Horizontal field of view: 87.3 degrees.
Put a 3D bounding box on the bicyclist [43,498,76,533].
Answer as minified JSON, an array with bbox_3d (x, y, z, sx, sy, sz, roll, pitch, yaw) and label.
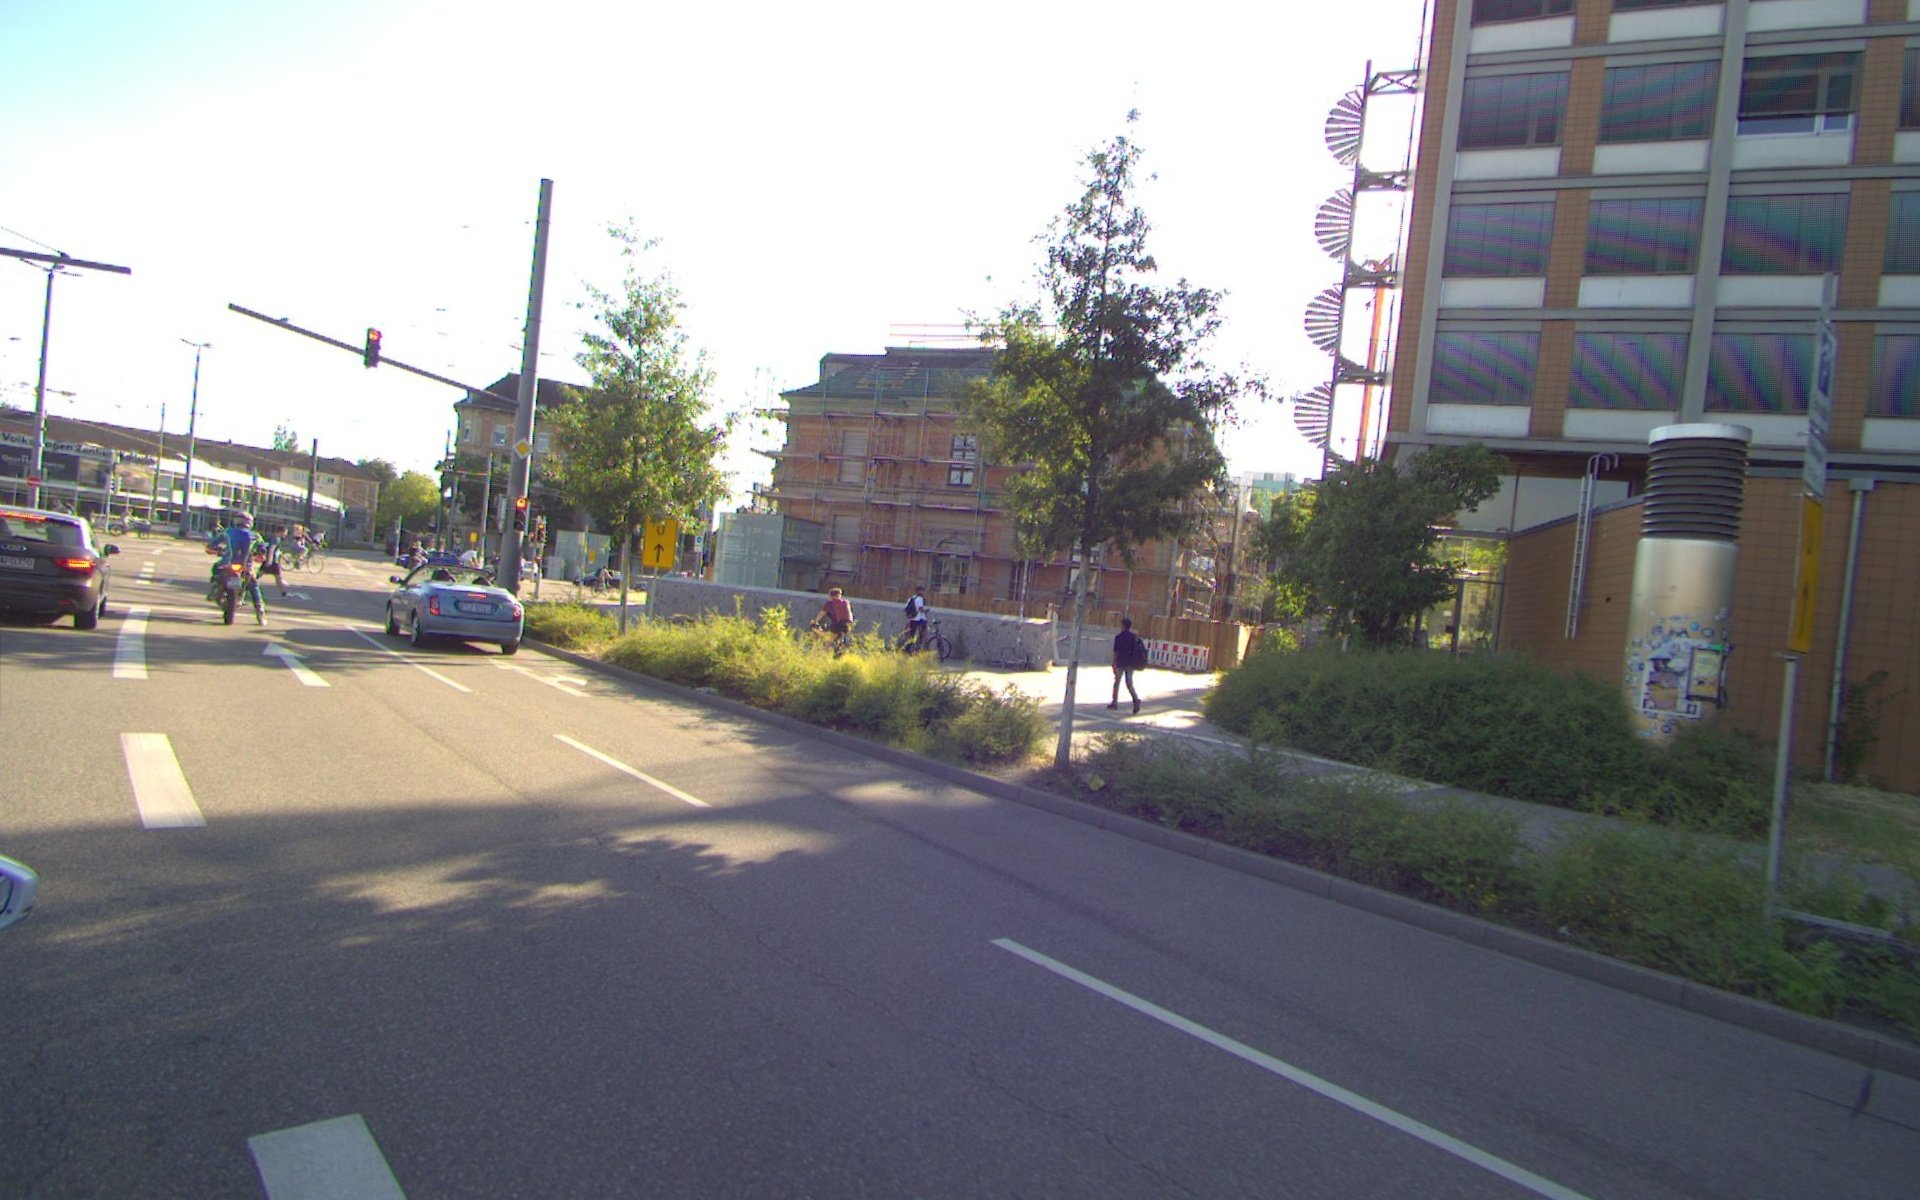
[{"bbox_3d":[-44.749,-4.219,49.989,0.948,1.579,0.923,6,0,36],"label":"bicyclist"}]

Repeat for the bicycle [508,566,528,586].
[{"bbox_3d":[-25.671,-1.399,58.442,0.783,1.052,1.948,4,0,-30],"label":"bicycle"}]

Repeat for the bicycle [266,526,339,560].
[{"bbox_3d":[-44.892,-3.873,68.763,1.120,1.711,3.991,9,0,33],"label":"bicycle"}]

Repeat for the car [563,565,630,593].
[{"bbox_3d":[-26.026,-1.504,72.134,1.925,1.504,4.087,6,-1,38],"label":"car"}]

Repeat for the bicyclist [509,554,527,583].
[{"bbox_3d":[-25.669,-1.826,58.441,0.783,1.614,0.940,4,1,-31],"label":"bicyclist"}]

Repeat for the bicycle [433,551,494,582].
[{"bbox_3d":[-24.048,-1.622,48.778,0.846,1.147,2.495,9,0,33],"label":"bicycle"}]

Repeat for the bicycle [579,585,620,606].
[{"bbox_3d":[-19.212,-0.213,53.692,0.844,0.917,2.304,8,0,14],"label":"bicycle"}]

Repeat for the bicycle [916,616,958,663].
[{"bbox_3d":[-0.613,0.994,25.757,0.618,1.052,1.958,4,0,-13],"label":"bicycle"}]

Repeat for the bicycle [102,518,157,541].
[{"bbox_3d":[-49.016,-4.174,59.399,0.846,0.991,2.299,8,0,31],"label":"bicycle"}]

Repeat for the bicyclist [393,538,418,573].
[{"bbox_3d":[-29.744,-2.382,53.925,0.850,1.800,0.585,6,1,10],"label":"bicyclist"}]

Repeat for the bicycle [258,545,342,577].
[{"bbox_3d":[-25.163,-1.489,38.415,0.845,0.885,2.497,8,0,30],"label":"bicycle"}]

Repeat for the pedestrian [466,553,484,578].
[{"bbox_3d":[-36.216,-2.575,75.115,0.920,1.697,0.774,6,1,-39],"label":"pedestrian"}]

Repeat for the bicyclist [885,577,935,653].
[{"bbox_3d":[-1.249,0.374,24.992,0.780,1.809,0.887,4,1,-31],"label":"bicyclist"}]

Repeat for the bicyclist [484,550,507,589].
[{"bbox_3d":[-21.430,-1.425,46.435,0.642,1.712,0.856,7,1,-18],"label":"bicyclist"}]

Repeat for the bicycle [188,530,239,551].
[{"bbox_3d":[-45.293,-3.594,61.078,0.844,0.971,2.302,8,0,23],"label":"bicycle"}]

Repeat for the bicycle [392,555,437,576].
[{"bbox_3d":[-29.645,-1.861,54.747,0.844,0.917,2.304,8,0,9],"label":"bicycle"}]

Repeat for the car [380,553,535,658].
[{"bbox_3d":[-9.065,0.040,17.973,1.791,1.461,3.941,8,-2,-35],"label":"car"}]

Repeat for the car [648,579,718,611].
[{"bbox_3d":[-21.447,-0.394,78.146,1.928,1.916,4.823,6,-1,44],"label":"car"}]

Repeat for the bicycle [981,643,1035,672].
[{"bbox_3d":[1.205,1.449,25.423,1.337,0.547,0.428,7,2,38],"label":"bicycle"}]

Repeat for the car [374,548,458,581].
[{"bbox_3d":[-35.768,-2.336,66.235,4.575,1.613,1.935,7,0,-36],"label":"car"}]

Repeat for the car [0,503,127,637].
[{"bbox_3d":[-12.390,-0.495,13.380,1.793,1.461,3.936,8,-2,-38],"label":"car"}]

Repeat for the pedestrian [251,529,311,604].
[{"bbox_3d":[-16.321,-0.802,24.204,0.685,1.692,0.829,6,0,12],"label":"pedestrian"}]

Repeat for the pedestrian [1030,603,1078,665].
[{"bbox_3d":[2.821,1.021,30.098,0.922,1.745,0.985,6,0,32],"label":"pedestrian"}]

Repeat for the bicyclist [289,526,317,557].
[{"bbox_3d":[-44.888,-3.989,68.765,1.104,1.924,1.071,9,1,33],"label":"bicyclist"}]

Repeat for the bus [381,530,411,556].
[{"bbox_3d":[-72.736,-7.354,129.860,2.333,2.919,9.514,8,0,-26],"label":"bus"}]

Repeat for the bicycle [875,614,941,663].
[{"bbox_3d":[-1.313,0.947,25.050,0.783,1.052,1.948,4,0,-30],"label":"bicycle"}]

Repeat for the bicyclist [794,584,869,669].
[{"bbox_3d":[-2.321,0.465,18.100,0.718,1.400,1.062,7,-2,-45],"label":"bicyclist"}]

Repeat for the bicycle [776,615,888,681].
[{"bbox_3d":[-2.333,0.847,18.069,0.718,0.963,2.222,7,-2,-44],"label":"bicycle"}]

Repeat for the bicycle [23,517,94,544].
[{"bbox_3d":[-44.817,-3.446,50.037,0.948,1.016,2.438,6,0,35],"label":"bicycle"}]

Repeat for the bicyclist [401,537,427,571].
[{"bbox_3d":[-29.594,-2.474,54.542,0.844,1.712,0.651,8,1,9],"label":"bicyclist"}]

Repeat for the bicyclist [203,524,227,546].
[{"bbox_3d":[-45.234,-3.963,61.077,0.822,1.157,0.714,8,1,22],"label":"bicyclist"}]

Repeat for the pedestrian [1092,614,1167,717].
[{"bbox_3d":[2.973,1.143,17.722,0.798,1.678,0.786,8,-1,-23],"label":"pedestrian"}]

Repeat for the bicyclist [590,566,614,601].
[{"bbox_3d":[-19.112,-0.875,53.709,0.844,1.712,0.651,8,1,15],"label":"bicyclist"}]

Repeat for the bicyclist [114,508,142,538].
[{"bbox_3d":[-49.037,-4.519,59.302,0.846,1.579,0.924,9,1,32],"label":"bicyclist"}]

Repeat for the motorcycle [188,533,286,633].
[{"bbox_3d":[-11.771,-0.307,16.350,1.090,1.394,2.626,7,-1,-37],"label":"motorcycle"}]

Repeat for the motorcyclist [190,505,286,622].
[{"bbox_3d":[-11.788,-0.585,16.416,1.091,1.742,0.927,7,-1,-38],"label":"motorcyclist"}]

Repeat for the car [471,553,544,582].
[{"bbox_3d":[-31.126,-2.240,69.250,1.923,1.470,4.096,6,-1,35],"label":"car"}]

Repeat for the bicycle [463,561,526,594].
[{"bbox_3d":[-21.463,-1.049,46.452,2.465,1.147,0.856,8,1,-19],"label":"bicycle"}]

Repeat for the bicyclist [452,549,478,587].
[{"bbox_3d":[-24.023,-1.566,48.814,0.846,1.712,0.650,9,1,33],"label":"bicyclist"}]

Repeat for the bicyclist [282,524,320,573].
[{"bbox_3d":[-25.126,-1.968,38.355,0.845,1.712,0.746,9,1,30],"label":"bicyclist"}]
